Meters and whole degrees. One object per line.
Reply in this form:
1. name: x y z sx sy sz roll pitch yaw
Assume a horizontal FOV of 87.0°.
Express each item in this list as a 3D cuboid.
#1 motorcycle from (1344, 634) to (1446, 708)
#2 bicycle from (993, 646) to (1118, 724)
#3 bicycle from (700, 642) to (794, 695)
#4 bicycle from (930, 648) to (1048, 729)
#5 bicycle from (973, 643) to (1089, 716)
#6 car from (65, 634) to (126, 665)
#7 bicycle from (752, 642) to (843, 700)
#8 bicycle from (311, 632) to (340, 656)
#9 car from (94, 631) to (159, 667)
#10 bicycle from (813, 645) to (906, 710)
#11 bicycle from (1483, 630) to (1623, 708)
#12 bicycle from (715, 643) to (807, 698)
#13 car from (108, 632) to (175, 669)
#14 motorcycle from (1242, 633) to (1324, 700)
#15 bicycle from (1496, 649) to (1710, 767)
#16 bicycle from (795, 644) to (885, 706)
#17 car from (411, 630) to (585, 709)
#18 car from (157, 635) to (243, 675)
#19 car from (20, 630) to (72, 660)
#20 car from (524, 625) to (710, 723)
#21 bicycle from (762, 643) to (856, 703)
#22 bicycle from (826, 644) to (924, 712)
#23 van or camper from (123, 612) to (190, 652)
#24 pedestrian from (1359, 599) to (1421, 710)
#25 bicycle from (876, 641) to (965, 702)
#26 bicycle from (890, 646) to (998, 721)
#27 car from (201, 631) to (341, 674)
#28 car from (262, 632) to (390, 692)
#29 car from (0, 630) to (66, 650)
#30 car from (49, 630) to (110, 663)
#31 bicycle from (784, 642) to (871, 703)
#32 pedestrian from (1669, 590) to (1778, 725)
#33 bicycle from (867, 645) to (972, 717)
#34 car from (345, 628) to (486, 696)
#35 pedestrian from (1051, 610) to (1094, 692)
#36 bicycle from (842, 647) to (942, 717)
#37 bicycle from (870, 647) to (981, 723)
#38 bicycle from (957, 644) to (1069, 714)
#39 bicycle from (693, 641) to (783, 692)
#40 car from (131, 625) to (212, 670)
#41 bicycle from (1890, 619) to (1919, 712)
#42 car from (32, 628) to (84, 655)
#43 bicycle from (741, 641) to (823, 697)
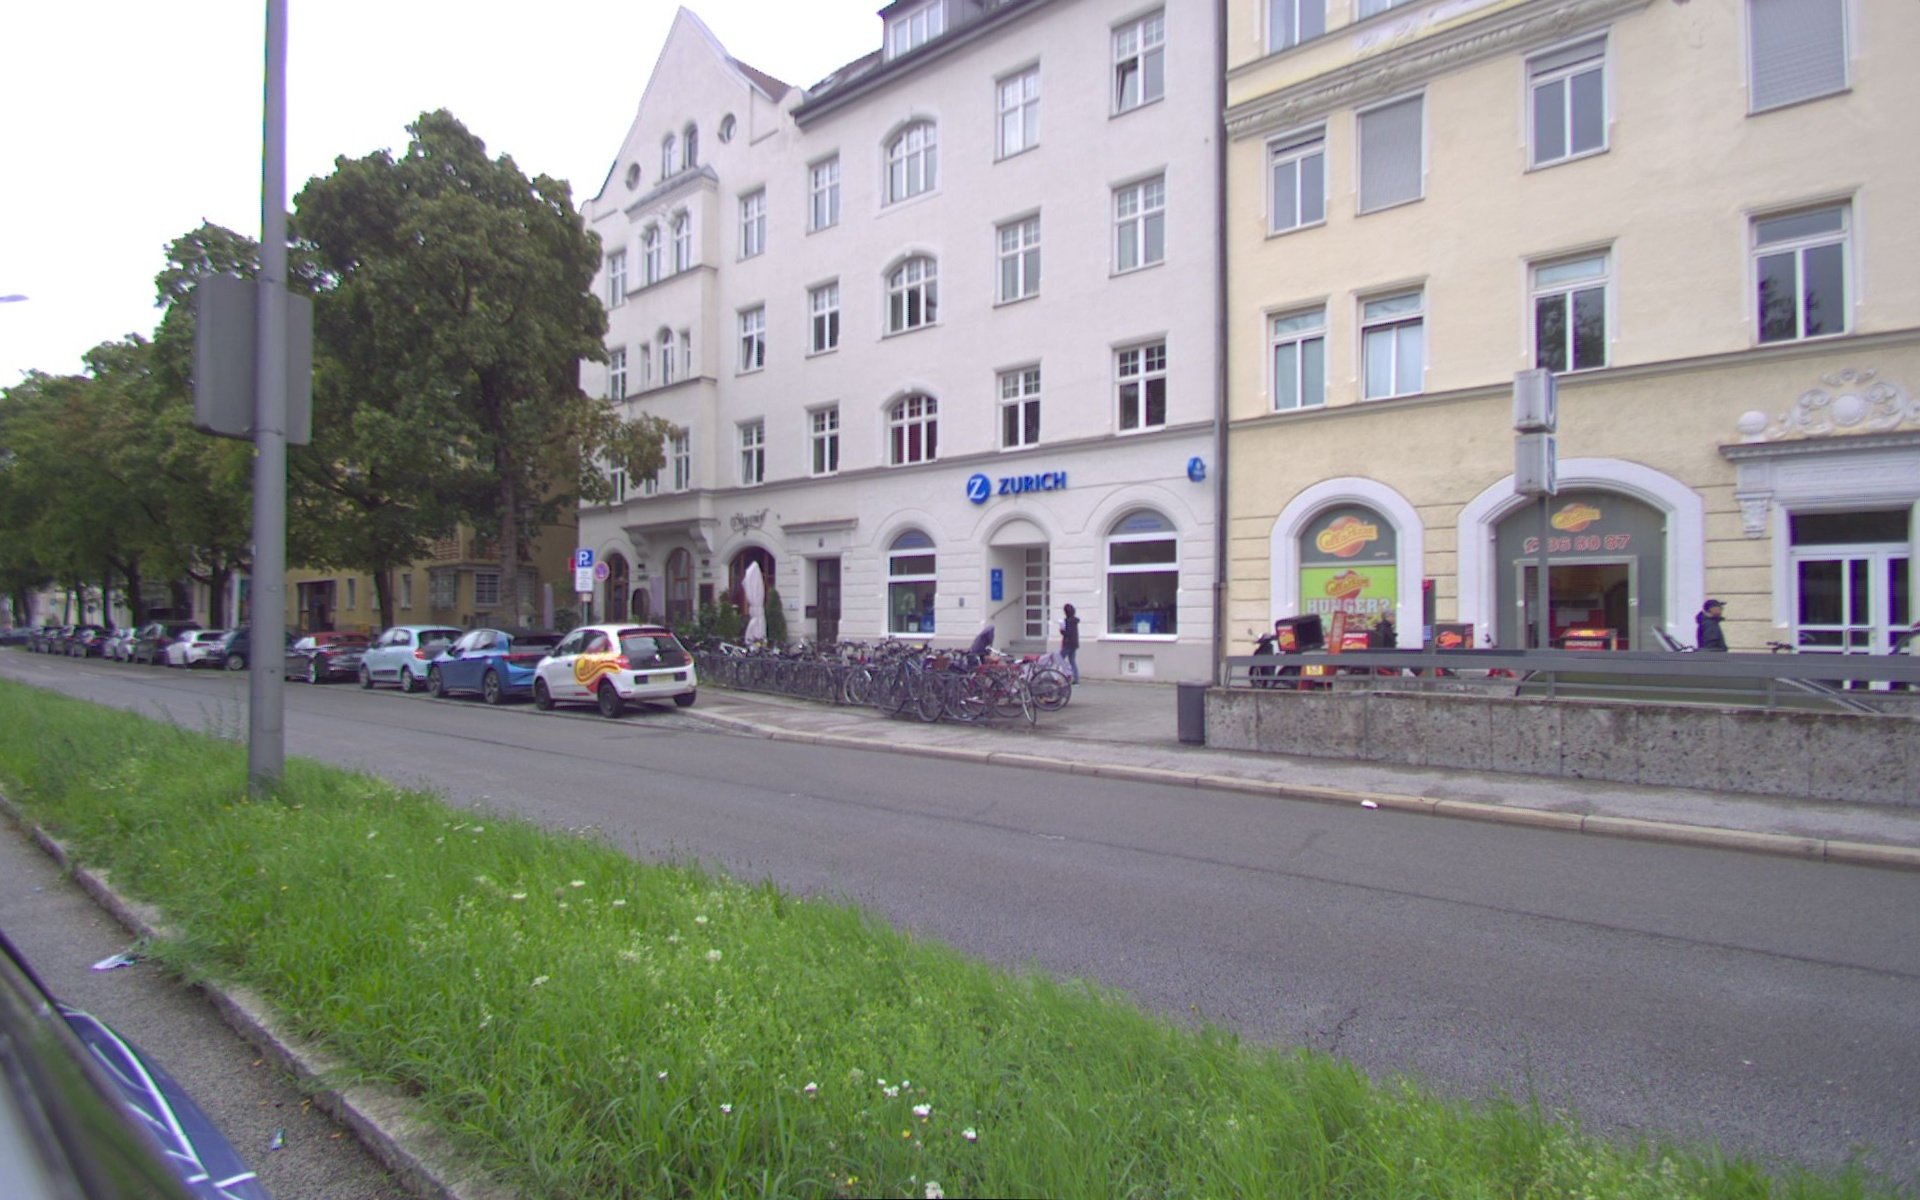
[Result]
1. motorcycle: 7.353 1.168 17.211 0.600 1.130 1.991 0 -1 -9
2. bicycle: 1.418 1.249 15.068 1.799 1.124 0.394 -1 -2 18
3. bicycle: -4.646 1.488 22.076 1.966 1.124 0.503 -1 -2 10
4. bicycle: 0.413 1.263 14.649 1.667 1.124 0.328 -1 -2 18
5. bicycle: 1.130 1.249 16.111 1.799 1.124 0.394 -1 -2 18
6. car: -43.247 2.446 50.579 4.361 1.416 1.709 -2 -2 41
7. bicycle: -3.275 1.418 20.297 1.859 1.124 0.328 -1 -2 18
8. bicycle: -33.149 2.307 52.845 1.929 1.231 0.762 -2 -2 41
9. car: -39.123 2.274 47.487 4.055 1.573 1.709 -2 -2 41
10. bicycle: -1.792 1.363 18.036 1.667 1.124 0.328 -1 -2 18
11. bicycle: 7.934 0.898 13.574 1.544 0.988 0.468 -2 -2 41
12. bicycle: -4.227 1.491 21.522 1.860 1.124 0.548 -1 -2 10
13. car: -36.157 2.197 44.694 3.007 1.569 1.710 -2 -2 39
14. motorcycle: 5.928 1.193 18.697 0.600 1.139 1.991 0 -1 -9
15. bicycle: 6.567 1.073 10.427 1.808 1.124 0.392 -1 -2 33
16. bicycle: -2.227 1.372 18.669 1.667 1.124 0.328 -1 -2 18
17. car: -9.942 1.406 21.640 4.289 1.518 1.792 -2 -2 41
18. car: -28.587 2.019 38.038 4.401 1.413 1.708 -2 -2 41
19. car: -55.601 2.699 61.552 4.436 1.700 1.854 -2 -2 41
20. car: -6.333 1.264 18.493 3.790 1.597 1.631 -2 -2 43
21. bicycle: -2.954 1.415 19.779 1.859 1.124 0.328 -1 -2 18
22. bicycle: -1.466 1.329 17.443 1.667 1.124 0.380 -1 -2 18
23. van or camper: -54.213 2.144 68.216 6.847 2.599 2.321 -2 -2 41
24. pedestrian: 6.823 0.851 16.063 0.769 1.710 0.537 -2 -2 39
25. bicycle: -0.755 1.337 19.130 1.667 1.124 0.328 -1 -2 18
26. bicycle: -0.259 1.292 15.792 1.667 1.124 0.328 -1 -2 18
27. car: -25.043 1.900 36.878 1.730 1.475 3.850 -2 -3 39
28. car: -17.926 1.680 28.530 4.643 1.518 1.792 -2 -2 41
29. car: -69.497 2.989 75.373 3.930 1.386 1.868 0 -2 -24
30. car: -47.376 2.477 54.435 4.767 1.658 1.859 -2 -2 41
31. bicycle: -2.519 1.368 19.202 1.667 1.124 0.328 -1 -2 18
32. pedestrian: 9.975 0.741 13.248 0.936 1.710 0.591 -1 -2 13
33. bicycle: -0.661 1.291 16.352 1.667 1.124 0.365 -1 -2 18
34. car: -13.464 1.460 24.923 3.958 1.518 1.792 -2 -2 41
35. pedestrian: 2.297 1.023 20.647 0.416 1.644 0.784 1 -2 -43
36. bicycle: -1.142 1.356 16.950 1.667 1.124 0.328 -1 -2 18
37. bicycle: -0.528 1.284 15.467 1.667 1.124 0.366 -1 -2 18
38. bicycle: 0.872 1.285 16.665 1.799 1.124 0.394 -1 -2 18
39. bicycle: -4.962 1.478 22.669 1.944 1.124 0.457 -1 -2 10
40. car: -32.716 1.919 41.937 4.765 1.741 1.791 -2 -2 41
41. bicycle: 10.758 0.689 10.536 1.544 0.988 0.468 -2 -2 41
42. car: -51.895 2.378 58.221 4.490 1.465 1.674 -2 -2 41
43. bicycle: -3.678 1.423 20.908 1.664 1.124 0.329 -1 -2 14
